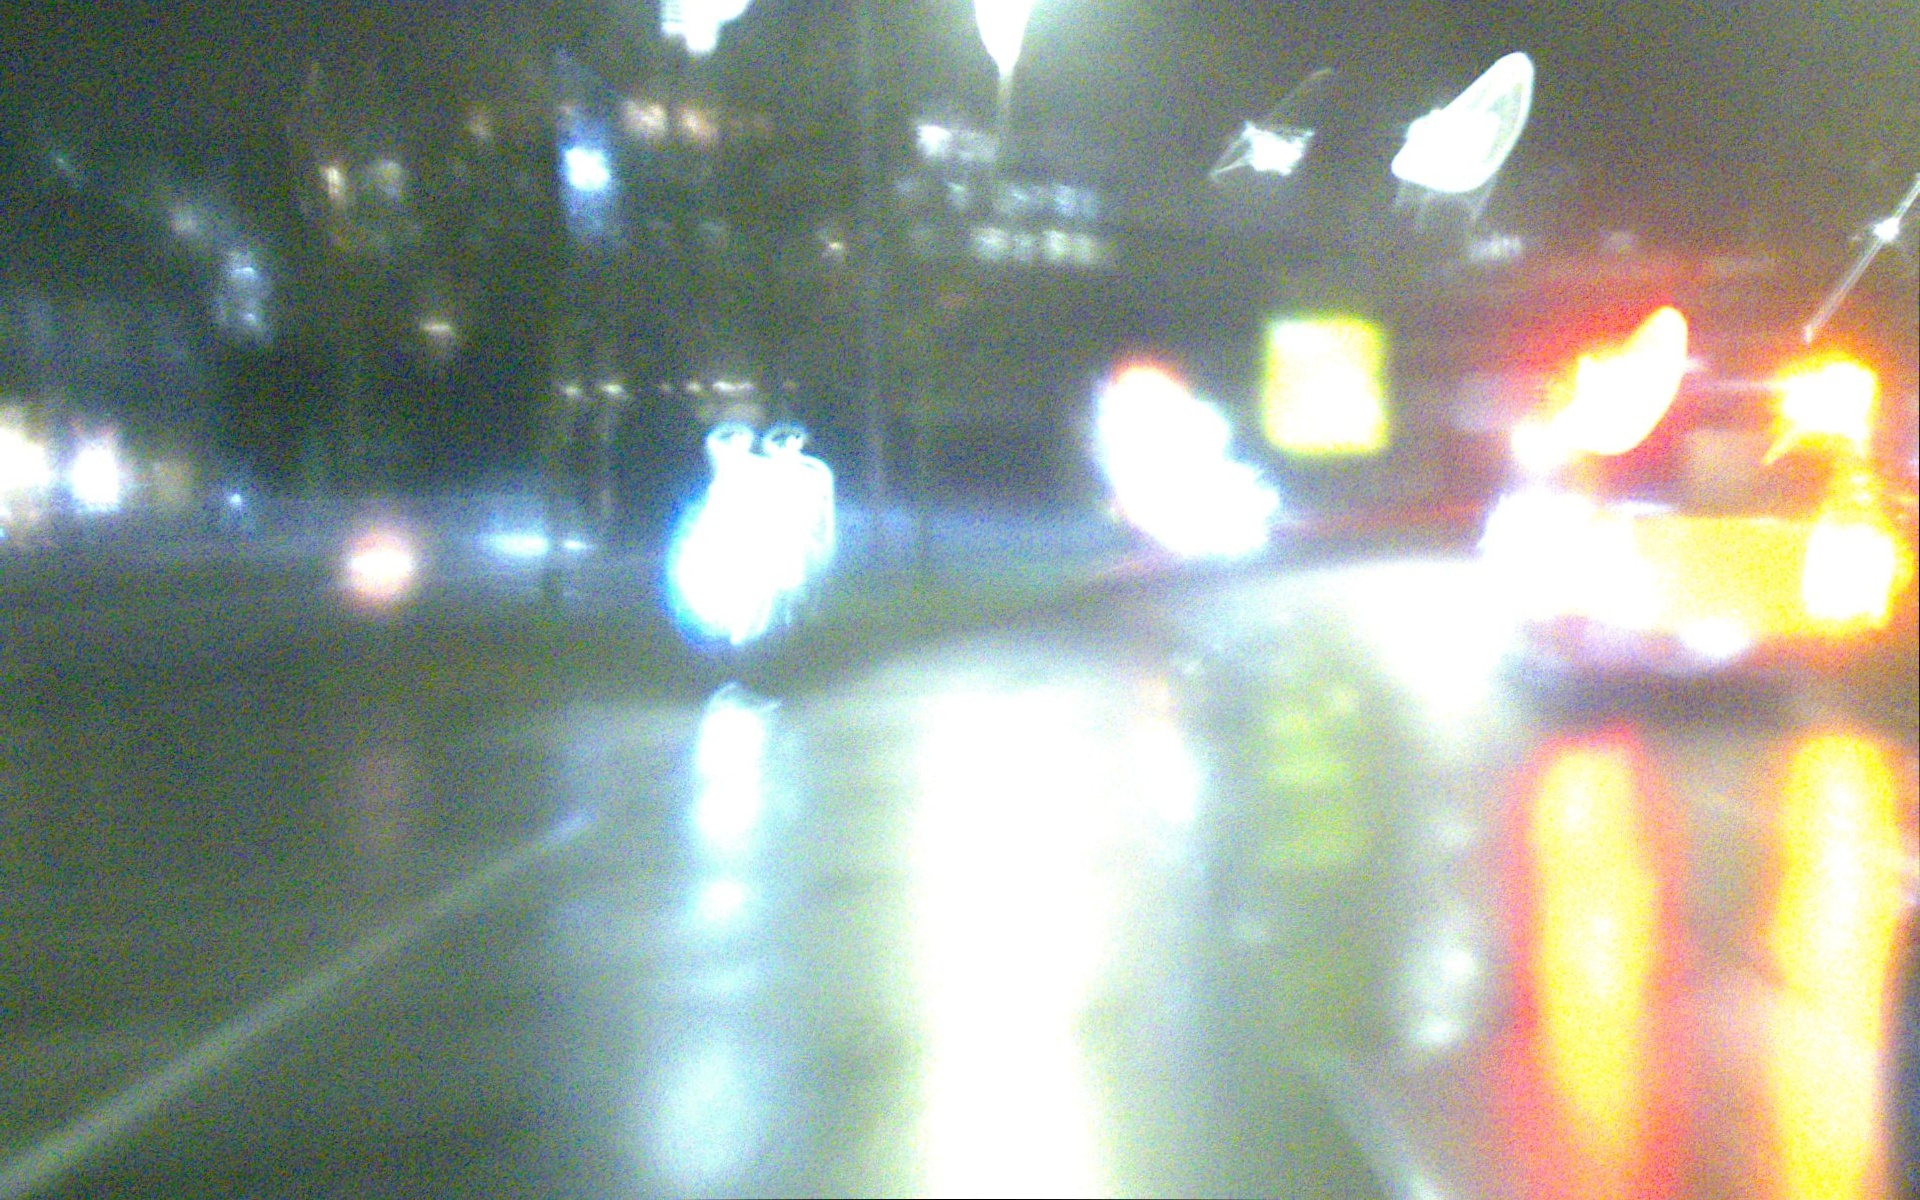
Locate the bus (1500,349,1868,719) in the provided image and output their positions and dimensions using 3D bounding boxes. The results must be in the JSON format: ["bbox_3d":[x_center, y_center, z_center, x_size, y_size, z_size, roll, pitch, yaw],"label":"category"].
[{"bbox_3d":[7.018,-0.664,34.521,3.044,3.201,9.047,1,1,9],"label":"bus"}]

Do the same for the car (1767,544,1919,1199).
[{"bbox_3d":[2.731,0.682,5.289,1.993,1.519,4.000,0,1,-1],"label":"car"}]

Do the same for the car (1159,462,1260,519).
[{"bbox_3d":[6.785,-2.970,93.219,1.867,1.458,4.637,-2,2,15],"label":"car"}]
